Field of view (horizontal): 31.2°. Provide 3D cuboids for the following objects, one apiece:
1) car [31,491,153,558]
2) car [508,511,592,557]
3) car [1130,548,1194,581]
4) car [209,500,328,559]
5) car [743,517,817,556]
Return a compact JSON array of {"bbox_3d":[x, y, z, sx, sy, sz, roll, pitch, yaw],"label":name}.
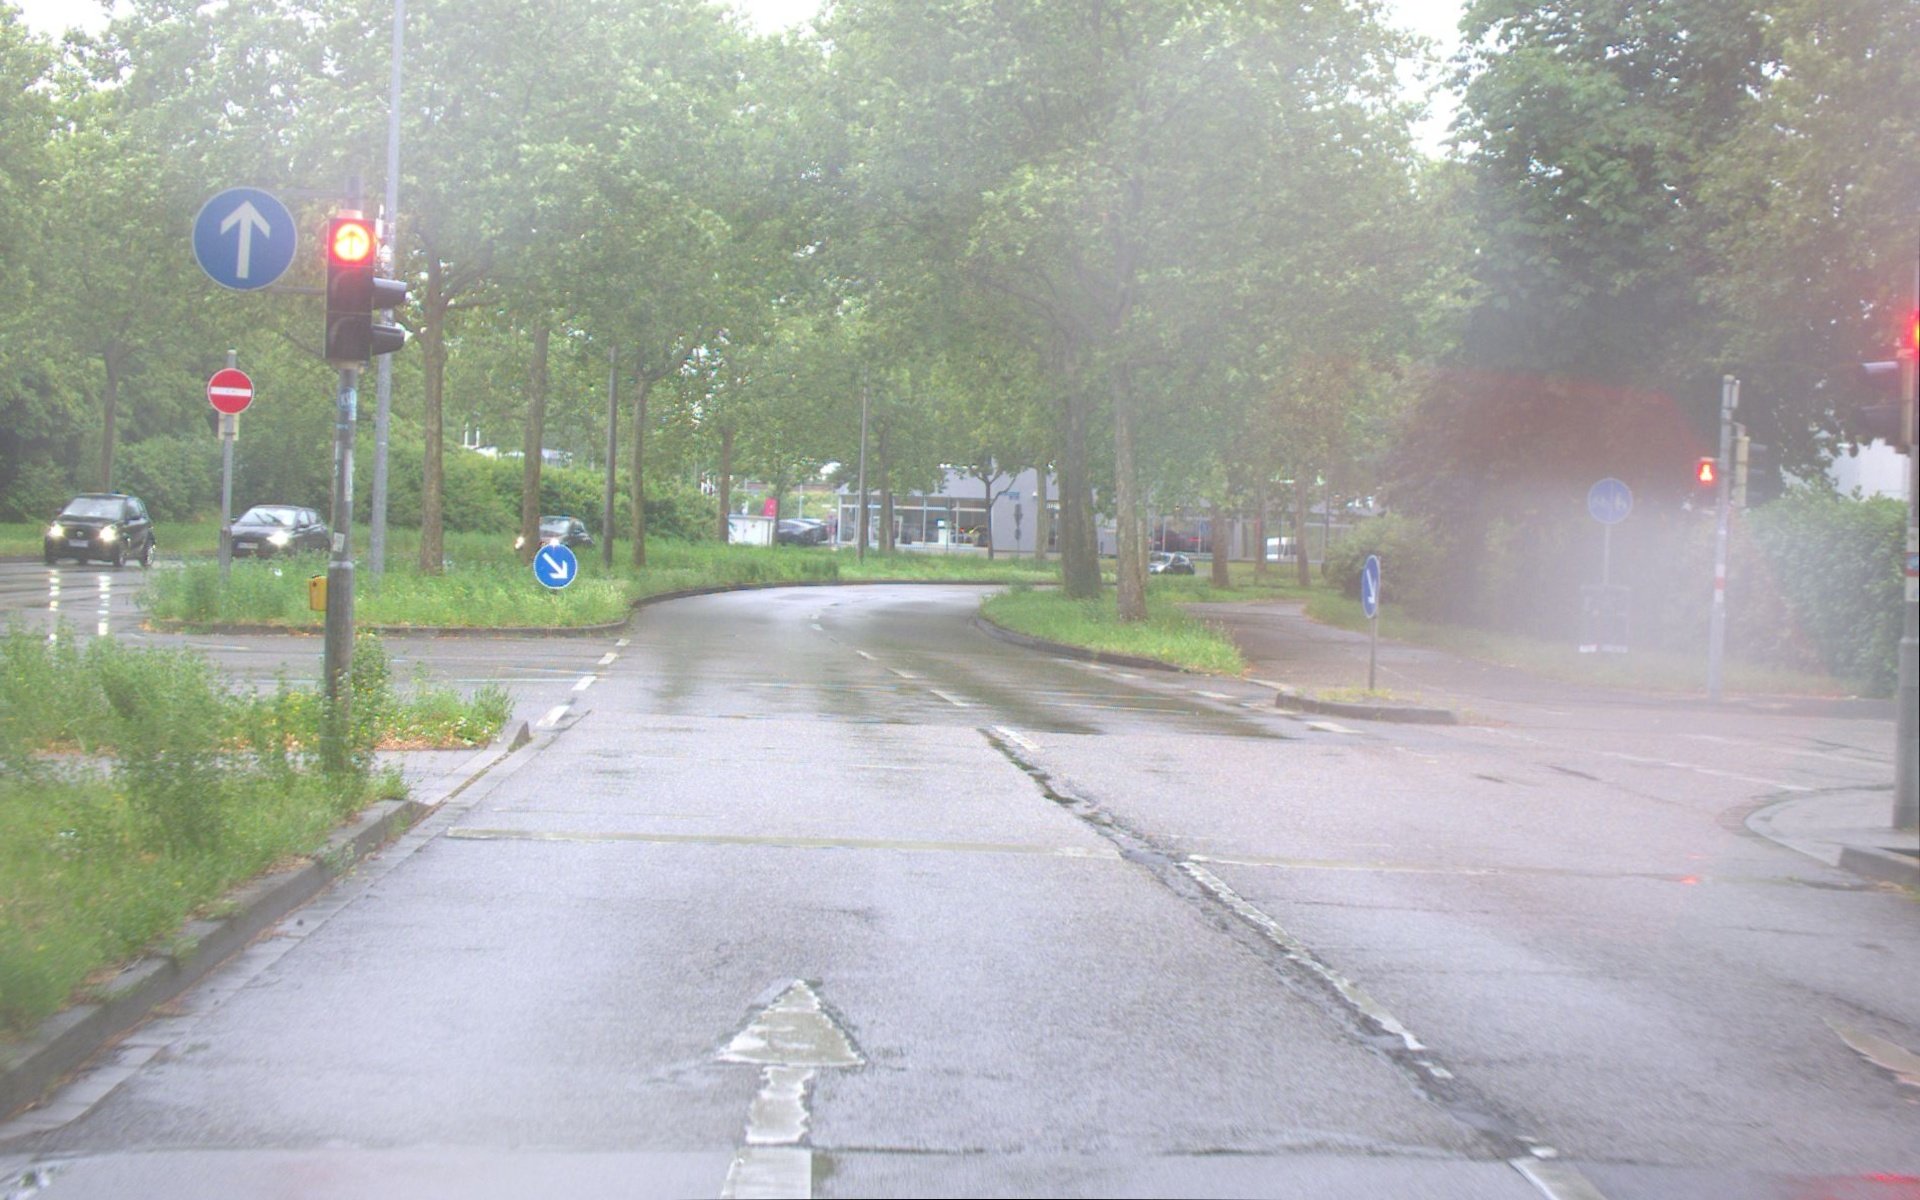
[{"bbox_3d":[-18.650,-1.619,73.978,1.587,1.368,3.334,2,1,3],"label":"car"},{"bbox_3d":[-12.752,-2.041,107.252,1.587,1.368,4.261,2,1,7],"label":"car"},{"bbox_3d":[9.352,-1.653,158.880,2.005,1.447,4.988,2,1,14],"label":"car"},{"bbox_3d":[-17.043,-1.733,84.906,1.587,1.368,4.261,2,1,7],"label":"car"},{"bbox_3d":[-10.414,-3.670,199.038,3.986,2.007,2.001,2,0,-11],"label":"car"}]
